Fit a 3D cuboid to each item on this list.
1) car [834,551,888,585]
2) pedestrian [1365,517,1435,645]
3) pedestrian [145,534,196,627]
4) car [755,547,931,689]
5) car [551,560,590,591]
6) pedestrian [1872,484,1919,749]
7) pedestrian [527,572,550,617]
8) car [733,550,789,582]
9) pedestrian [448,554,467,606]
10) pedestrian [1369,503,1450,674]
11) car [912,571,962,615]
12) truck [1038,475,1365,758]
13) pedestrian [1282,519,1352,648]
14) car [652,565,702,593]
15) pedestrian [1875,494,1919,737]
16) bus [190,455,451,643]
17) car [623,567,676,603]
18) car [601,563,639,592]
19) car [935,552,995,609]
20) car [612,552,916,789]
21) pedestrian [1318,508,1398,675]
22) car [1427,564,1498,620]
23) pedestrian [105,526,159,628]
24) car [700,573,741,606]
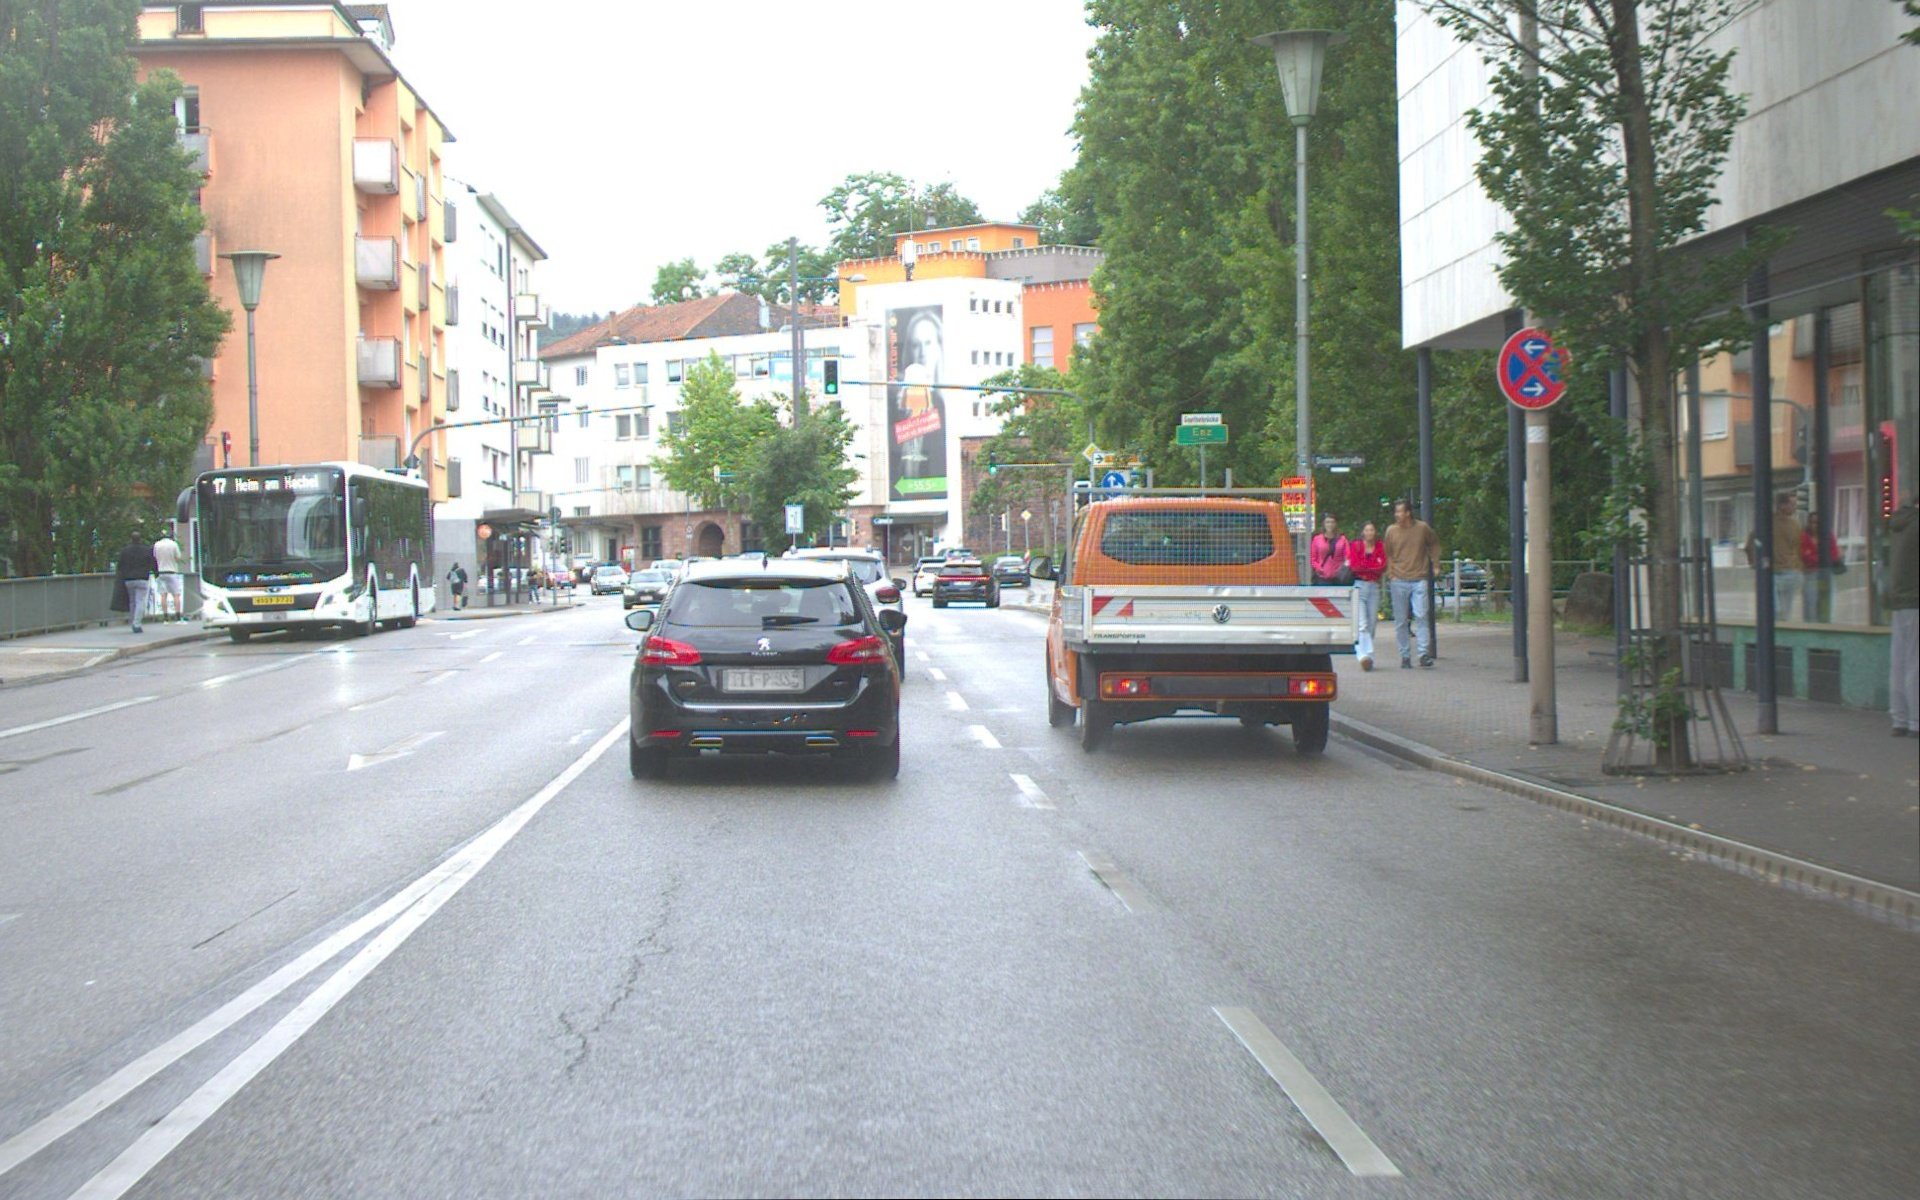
[{"bbox_3d":[-5.079,-1.623,176.634,1.993,1.678,4.001,-1,1,-13],"label":"car"},{"bbox_3d":[5.568,-0.244,43.496,0.726,1.584,0.607,-3,1,-2],"label":"pedestrian"},{"bbox_3d":[-15.240,-0.383,66.383,0.797,1.788,0.812,0,0,0],"label":"pedestrian"},{"bbox_3d":[-1.274,0.174,38.838,1.795,1.478,4.000,-1,0,0],"label":"car"},{"bbox_3d":[-21.920,-1.392,193.405,1.993,1.678,4.001,-1,1,-9],"label":"car"},{"bbox_3d":[6.671,0.106,23.888,0.536,1.814,0.534,-1,1,7],"label":"pedestrian"},{"bbox_3d":[-18.798,-0.243,153.163,0.726,2.007,0.657,3,-2,-35],"label":"pedestrian"},{"bbox_3d":[-10.682,-1.832,184.342,1.644,1.559,3.600,3,-2,-26],"label":"car"},{"bbox_3d":[-17.911,-0.713,122.600,0.639,1.854,0.524,0,1,-3],"label":"pedestrian"},{"bbox_3d":[4.844,-0.126,37.083,0.698,1.795,0.607,-3,1,-2],"label":"pedestrian"},{"bbox_3d":[-0.998,-0.327,146.387,1.993,1.815,4.000,0,1,-2],"label":"car"},{"bbox_3d":[1.779,0.124,26.904,2.122,2.018,4.716,0,0,-1],"label":"truck"},{"bbox_3d":[4.571,-0.214,44.035,0.717,1.614,0.769,-3,1,-2],"label":"pedestrian"},{"bbox_3d":[-14.742,-1.091,178.795,1.664,1.395,3.877,-2,1,-18],"label":"car"},{"bbox_3d":[6.883,0.102,24.625,0.536,1.713,0.534,-1,1,7],"label":"pedestrian"},{"bbox_3d":[-11.460,-1.062,62.850,2.744,3.065,12.239,-1,2,-1],"label":"bus"},{"bbox_3d":[-11.888,-0.598,131.885,1.791,1.320,4.407,-1,1,-3],"label":"car"},{"bbox_3d":[-17.480,-1.152,176.755,1.664,1.395,3.877,-2,1,-3],"label":"car"},{"bbox_3d":[0.127,-0.567,103.829,1.644,1.559,3.600,2,-2,-2],"label":"car"},{"bbox_3d":[-1.263,0.447,23.707,1.795,1.478,4.000,1,0,1],"label":"car"},{"bbox_3d":[4.299,-0.099,37.163,0.653,1.761,0.923,-3,1,-2],"label":"pedestrian"},{"bbox_3d":[19.471,-0.295,133.258,1.902,2.007,3.726,2,-2,-4],"label":"car"},{"bbox_3d":[-14.609,-0.398,60.665,0.698,1.788,0.958,0,0,1],"label":"pedestrian"},{"bbox_3d":[-10.603,-0.477,152.202,1.664,1.395,3.877,-2,1,-3],"label":"car"}]
